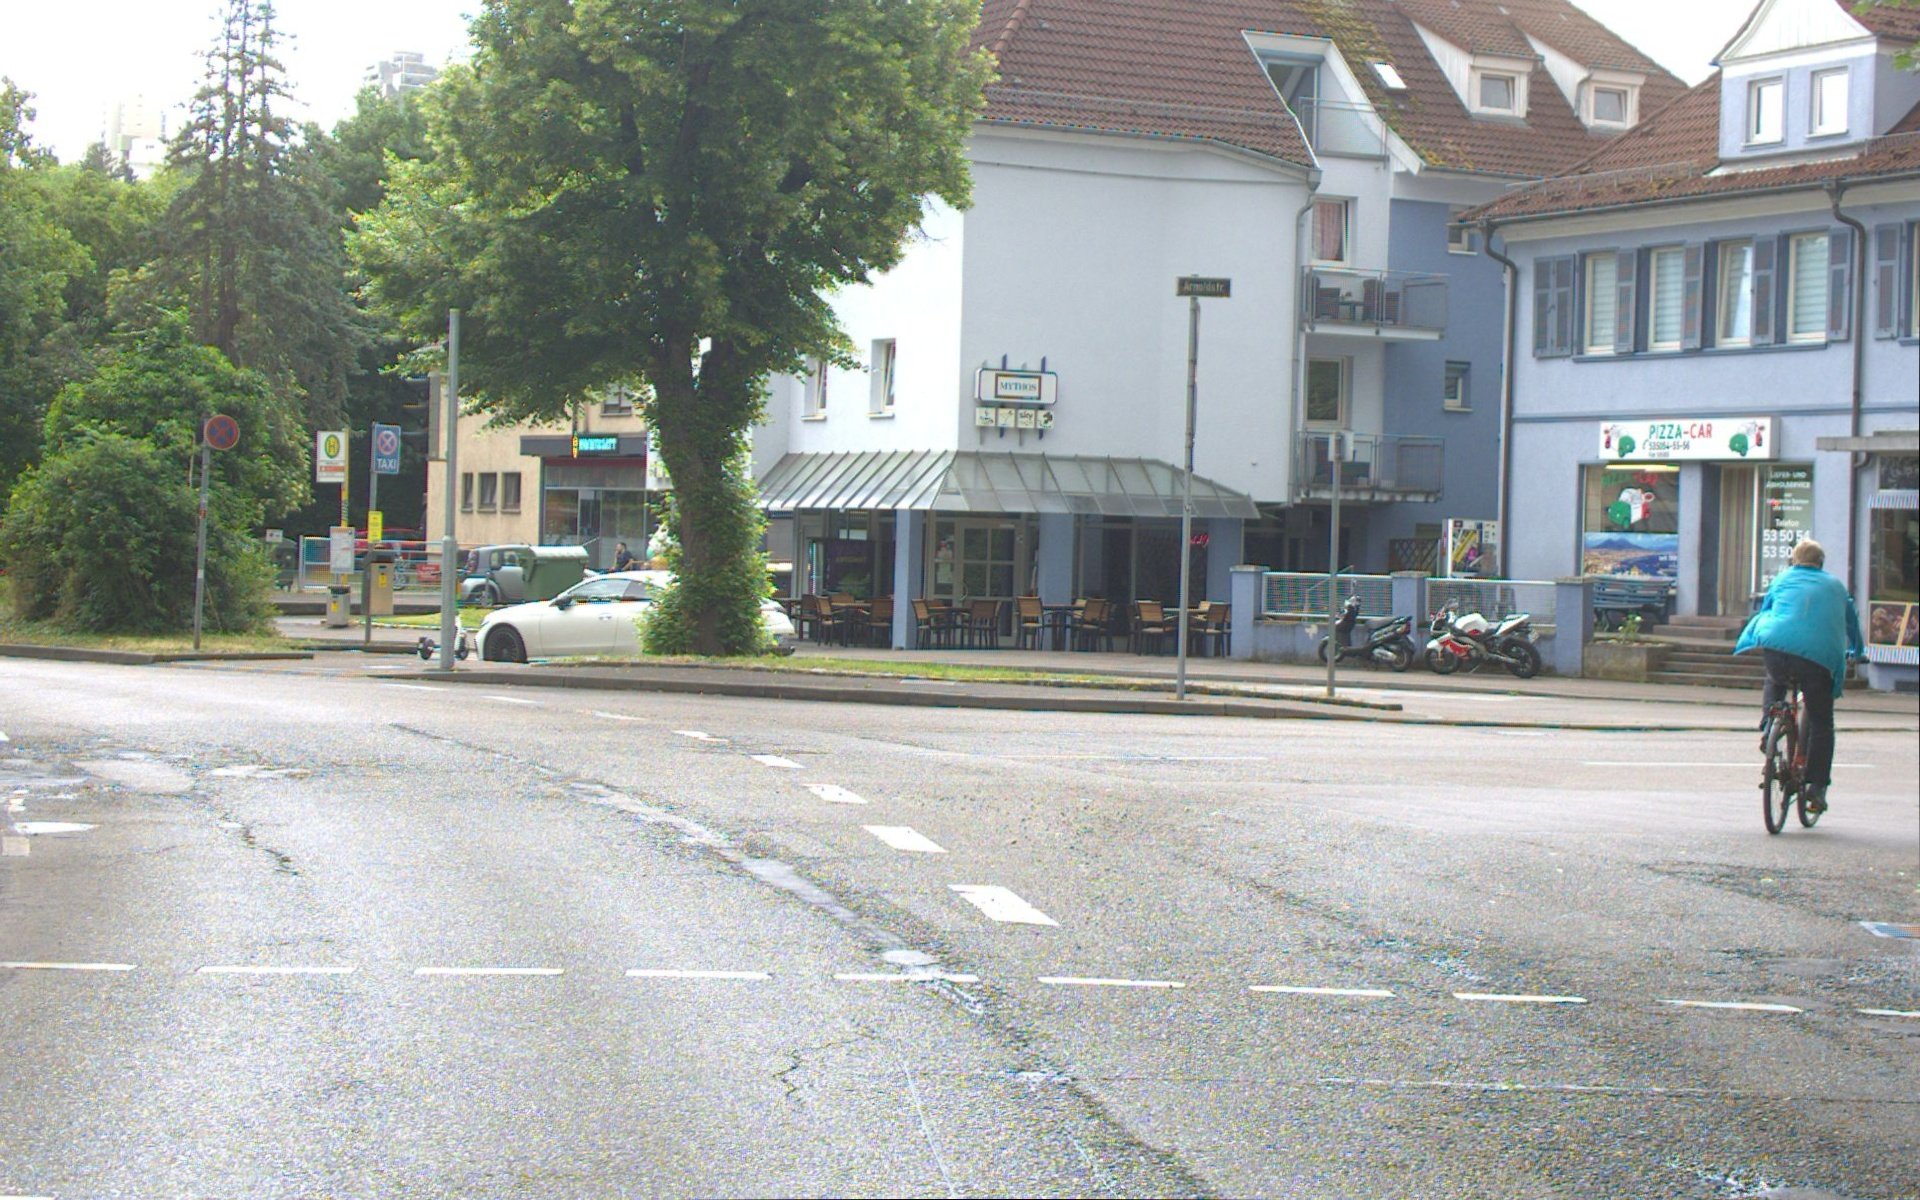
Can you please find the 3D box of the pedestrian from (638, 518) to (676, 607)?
[{"bbox_3d":[-5.324,-0.650,60.375,0.543,1.554,0.467,1,0,13],"label":"pedestrian"}]

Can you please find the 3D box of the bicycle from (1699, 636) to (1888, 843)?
[{"bbox_3d":[5.111,0.821,20.996,0.874,1.145,1.951,1,1,21],"label":"bicycle"}]

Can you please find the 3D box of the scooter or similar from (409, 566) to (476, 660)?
[{"bbox_3d":[-6.573,0.159,43.720,0.442,1.171,1.437,1,1,8],"label":"scooter or similar"}]

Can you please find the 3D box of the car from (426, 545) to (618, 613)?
[{"bbox_3d":[-9.785,-0.467,76.698,3.936,1.437,1.753,1,1,-20],"label":"car"}]

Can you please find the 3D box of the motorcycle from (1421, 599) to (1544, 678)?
[{"bbox_3d":[7.538,0.545,49.635,1.628,1.085,0.626,1,1,31],"label":"motorcycle"}]

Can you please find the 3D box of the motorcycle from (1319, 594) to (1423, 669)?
[{"bbox_3d":[6.141,0.468,51.389,1.458,1.085,0.523,1,1,35],"label":"motorcycle"}]

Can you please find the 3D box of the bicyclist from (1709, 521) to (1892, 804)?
[{"bbox_3d":[5.090,0.358,20.786,0.916,1.646,0.987,1,1,21],"label":"bicyclist"}]

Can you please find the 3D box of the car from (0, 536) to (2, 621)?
[{"bbox_3d":[-17.088,-0.378,54.501,3.321,1.347,1.778,2,1,26],"label":"car"}]

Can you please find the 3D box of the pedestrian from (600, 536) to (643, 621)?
[{"bbox_3d":[-8.071,-0.516,81.928,0.837,2.007,1.056,1,1,-15],"label":"pedestrian"}]

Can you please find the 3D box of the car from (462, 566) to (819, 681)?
[{"bbox_3d":[-4.384,0.293,46.891,4.709,1.405,1.899,2,1,34],"label":"car"}]
